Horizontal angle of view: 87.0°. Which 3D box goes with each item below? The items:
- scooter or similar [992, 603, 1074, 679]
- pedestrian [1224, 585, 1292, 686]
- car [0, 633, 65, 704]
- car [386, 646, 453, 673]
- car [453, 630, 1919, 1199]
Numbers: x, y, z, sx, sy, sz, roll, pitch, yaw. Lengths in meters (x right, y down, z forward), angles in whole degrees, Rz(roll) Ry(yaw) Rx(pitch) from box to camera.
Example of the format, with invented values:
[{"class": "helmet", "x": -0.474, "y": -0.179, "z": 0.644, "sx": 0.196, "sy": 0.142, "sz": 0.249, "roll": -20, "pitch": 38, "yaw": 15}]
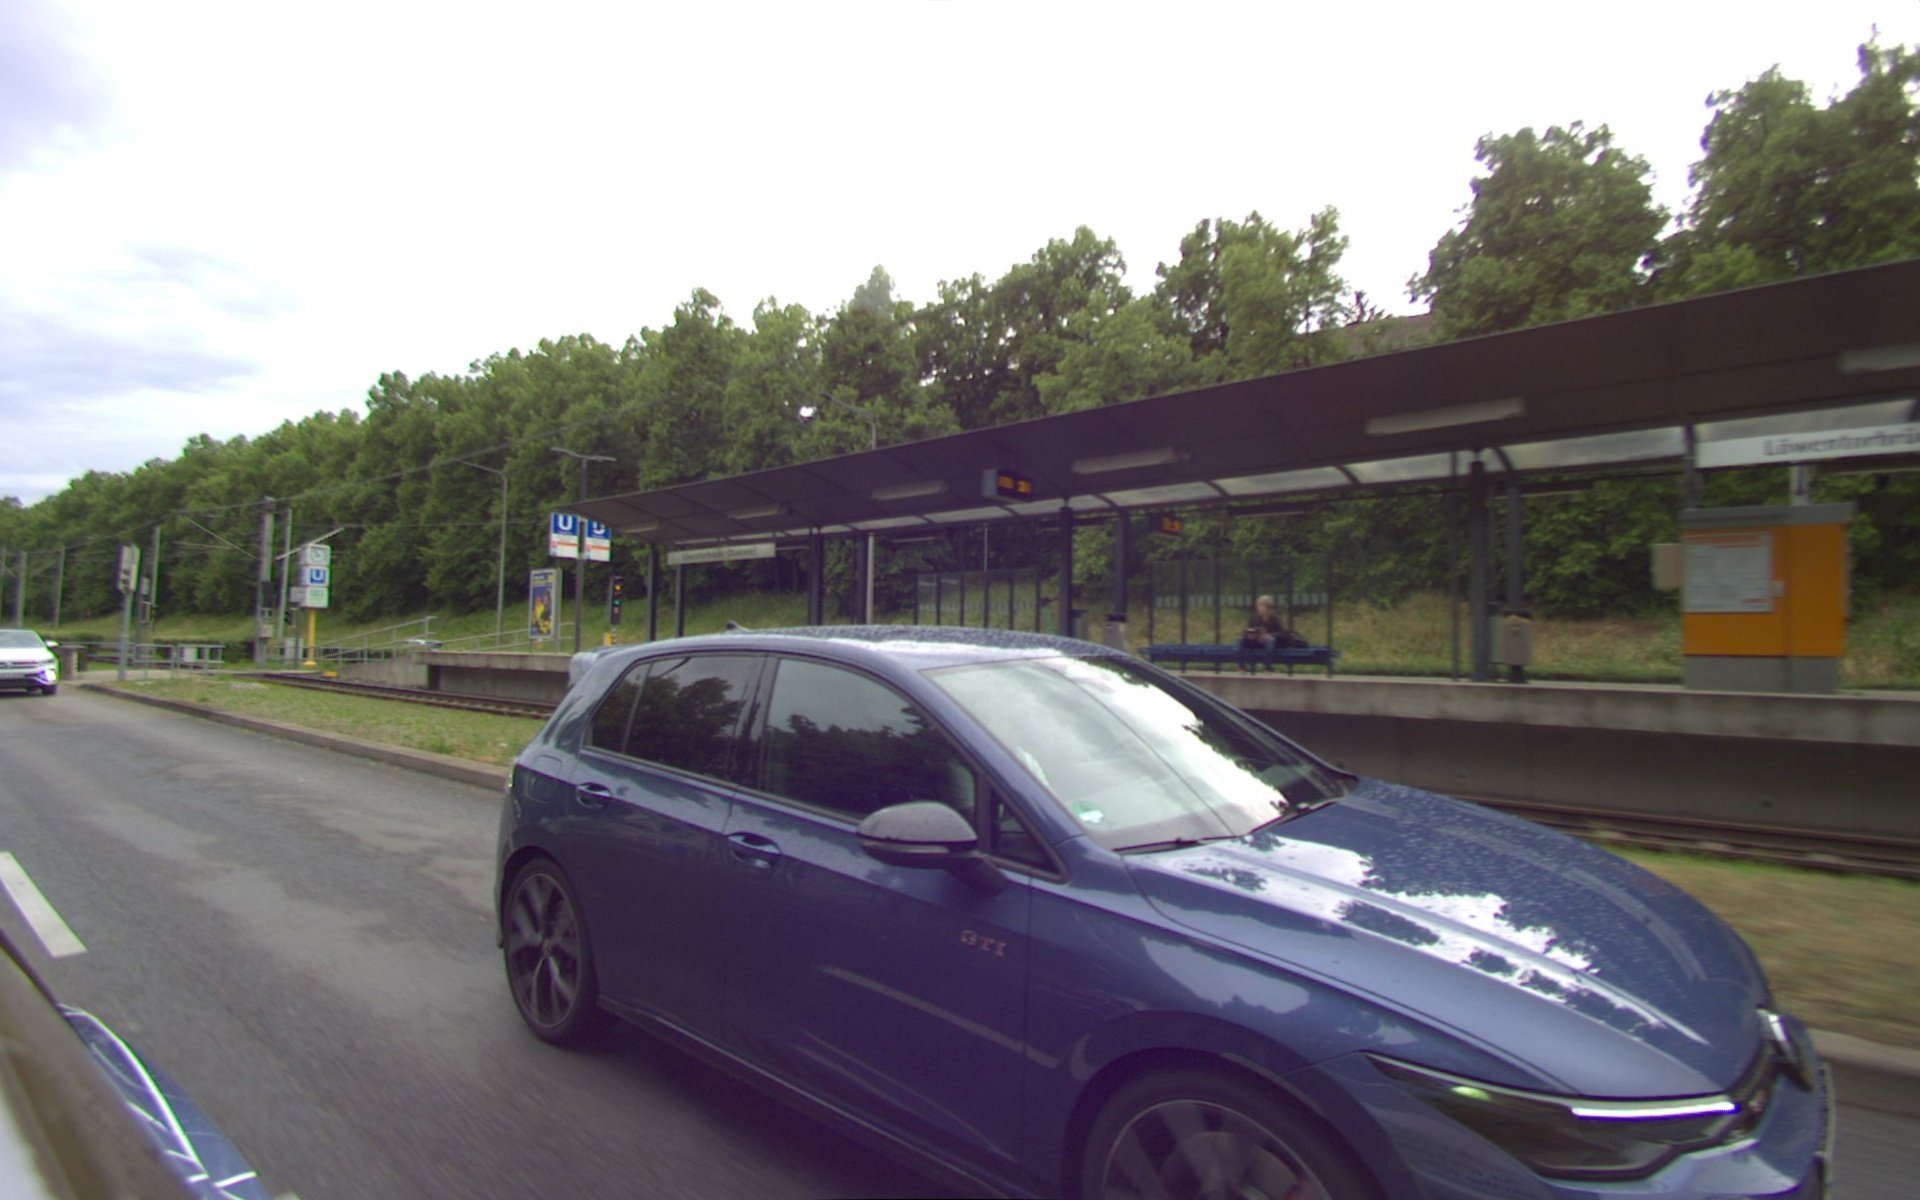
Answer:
[{"class": "scooter or similar", "x": 1.179, "y": 0.661, "z": 16.405, "sx": 1.281, "sy": 1.227, "sz": 0.380, "roll": 0, "pitch": -1, "yaw": -4}, {"class": "pedestrian", "x": 4.187, "y": 0.497, "z": 14.218, "sx": 0.691, "sy": 1.366, "sz": 0.745, "roll": -2, "pitch": -4, "yaw": 38}, {"class": "car", "x": -21.966, "y": 1.504, "z": 23.030, "sx": 4.700, "sy": 1.476, "sz": 1.933, "roll": -2, "pitch": -4, "yaw": 43}, {"class": "car", "x": -30.195, "y": 3.319, "z": 56.505, "sx": 3.993, "sy": 1.414, "sz": 1.779, "roll": -1, "pitch": -3, "yaw": 37}, {"class": "car", "x": 0.236, "y": 0.805, "z": 3.171, "sx": 4.345, "sy": 1.389, "sz": 1.789, "roll": -2, "pitch": -3, "yaw": 42}]
